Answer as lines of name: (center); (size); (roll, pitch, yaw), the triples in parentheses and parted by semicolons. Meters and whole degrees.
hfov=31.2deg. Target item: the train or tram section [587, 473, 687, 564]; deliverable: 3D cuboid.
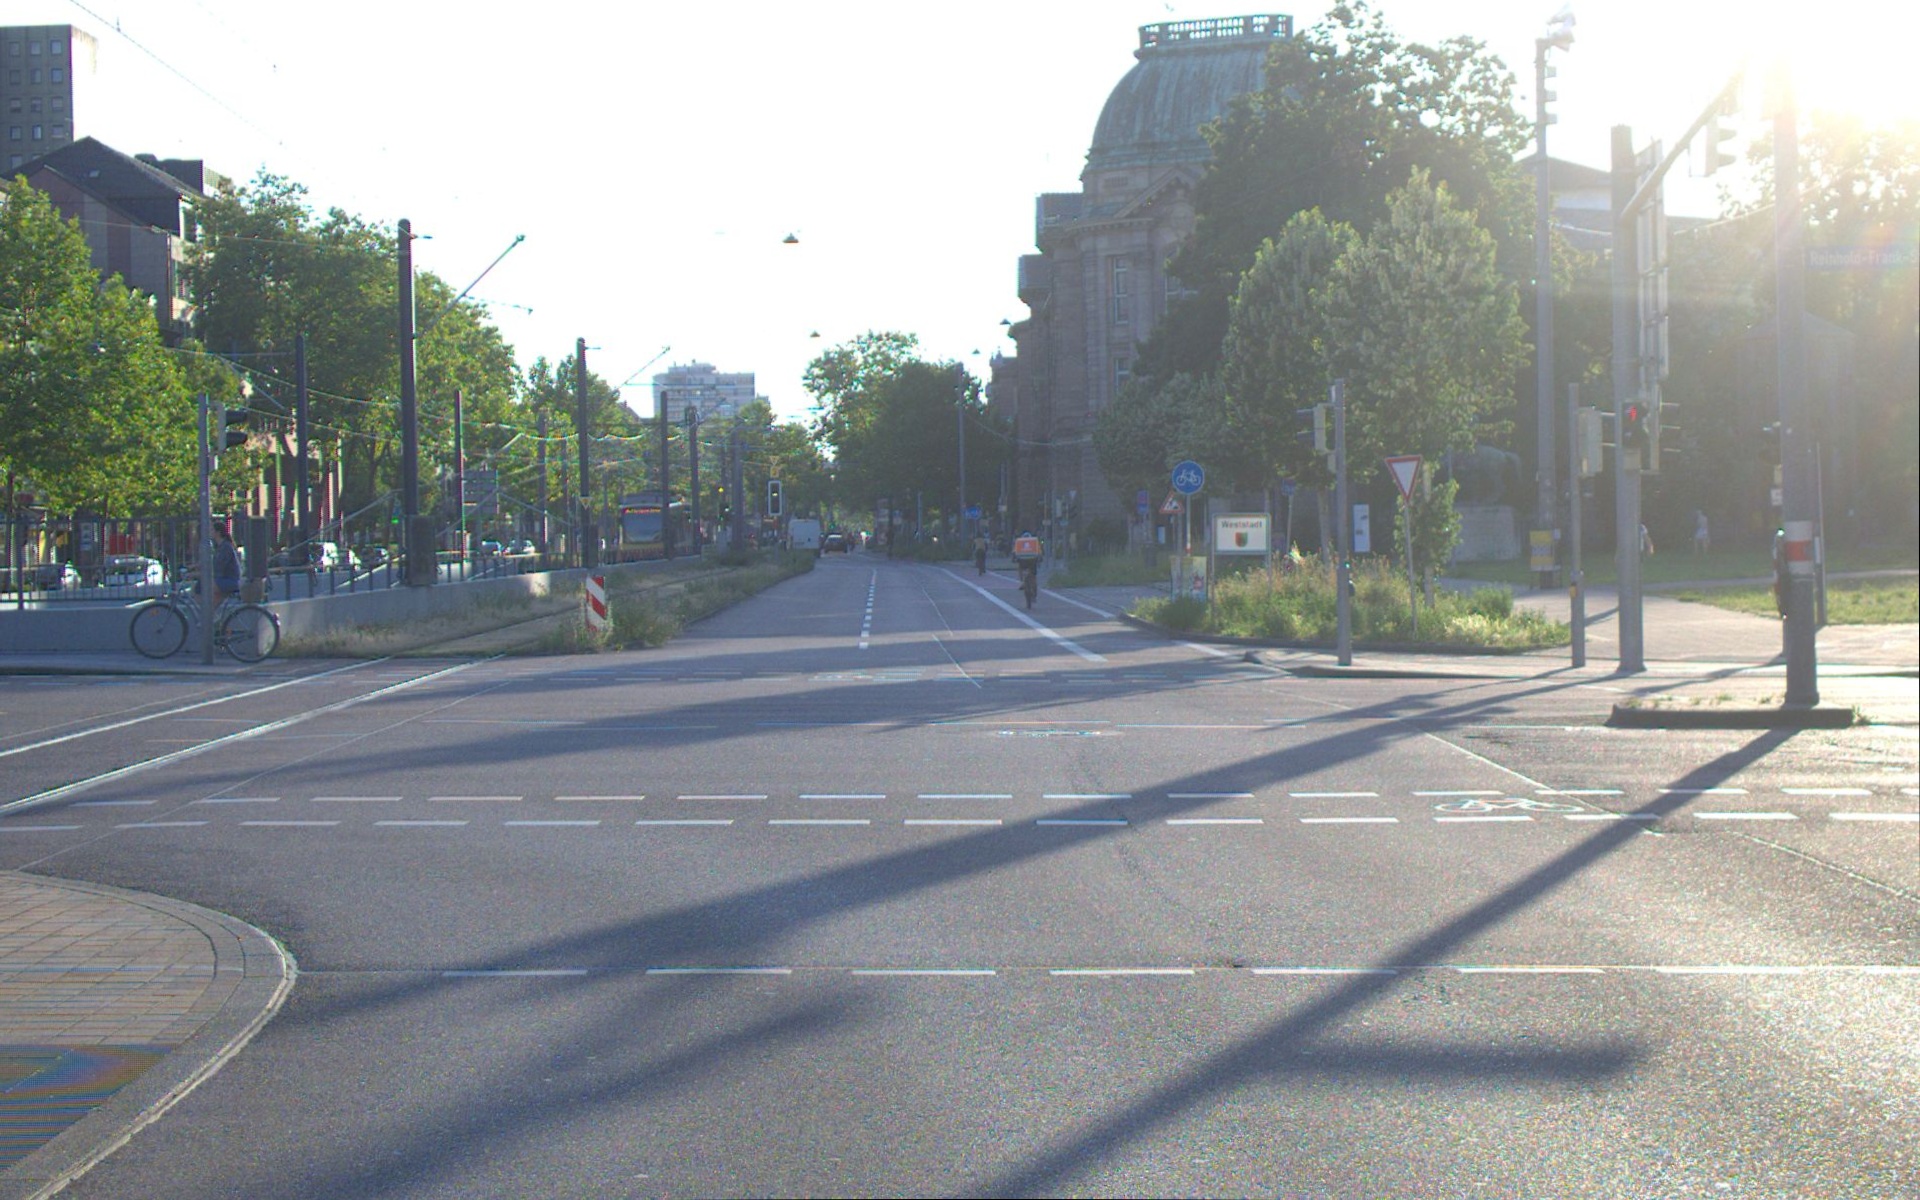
train or tram section: (-14.953, -3.873, 159.931); (4.385, 3.836, 11.413); (-1, 3, -5)

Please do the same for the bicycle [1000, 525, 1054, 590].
bicycle: (1.468, -0.947, 76.209); (1.098, 1.394, 2.832); (-1, 1, -1)

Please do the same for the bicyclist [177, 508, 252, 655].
bicyclist: (-9.306, -0.229, 42.913); (0.876, 1.812, 0.538); (-1, 1, -13)

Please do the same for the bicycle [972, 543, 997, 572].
bicycle: (0.958, -1.688, 136.564); (0.924, 1.108, 2.333); (-1, 1, -1)

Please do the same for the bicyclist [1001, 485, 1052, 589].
bicyclist: (1.464, -1.398, 76.082); (1.082, 2.268, 0.986); (0, 1, -1)

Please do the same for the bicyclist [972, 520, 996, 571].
bicyclist: (0.955, -2.151, 136.615); (0.925, 2.007, 0.850); (-1, 1, -1)

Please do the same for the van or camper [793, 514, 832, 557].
van or camper: (-9.694, -4.255, 226.141); (2.449, 2.761, 5.601); (-1, 1, -2)

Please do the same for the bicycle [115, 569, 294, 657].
bicycle: (-9.420, 0.157, 42.890); (2.163, 1.080, 0.539); (0, 0, -12)

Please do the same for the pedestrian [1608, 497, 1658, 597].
pedestrian: (12.217, -0.970, 62.398); (0.833, 1.797, 0.810); (-1, 1, 15)
